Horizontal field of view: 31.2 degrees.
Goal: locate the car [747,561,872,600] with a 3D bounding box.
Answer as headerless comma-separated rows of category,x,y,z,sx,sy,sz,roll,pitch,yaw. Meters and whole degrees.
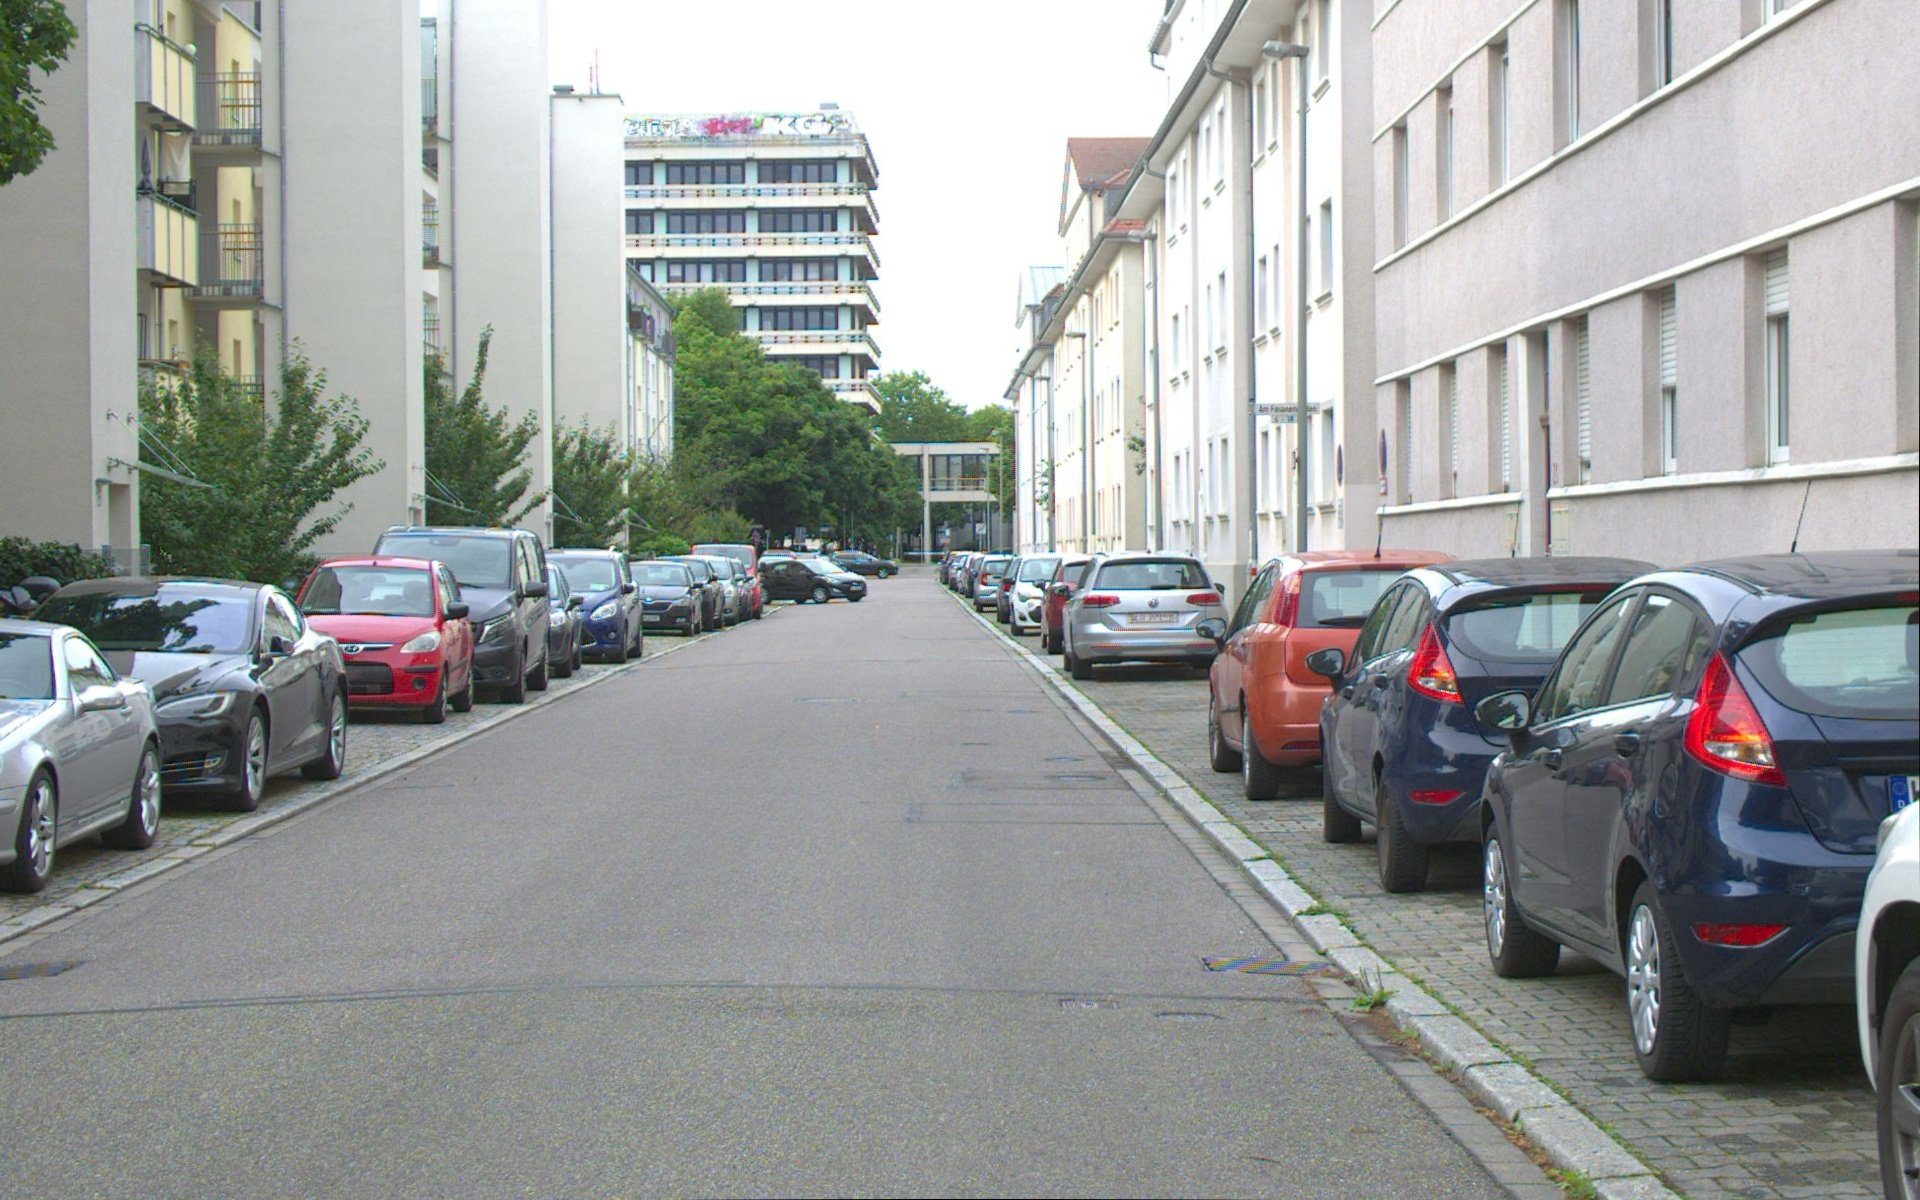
car,-4.870,-0.641,111.393,3.732,1.210,1.543,1,1,18

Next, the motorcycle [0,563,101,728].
motorcycle,-8.158,0.376,30.160,0.677,1.351,2.229,2,1,-1

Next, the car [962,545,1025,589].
car,1.140,-1.161,118.897,1.993,1.393,4.000,2,1,-1

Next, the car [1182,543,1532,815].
car,2.406,0.424,21.647,1.696,1.520,3.826,-1,1,-1

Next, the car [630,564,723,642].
car,-5.913,0.039,72.044,1.671,1.558,3.664,1,1,-1

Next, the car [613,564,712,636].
car,-5.827,-0.022,67.662,1.671,1.347,3.817,1,1,-1

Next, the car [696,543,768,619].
car,-5.975,-0.527,90.501,1.671,1.931,3.742,1,1,-1

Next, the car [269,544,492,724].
car,-5.508,0.279,33.028,1.563,1.563,3.642,2,1,-2

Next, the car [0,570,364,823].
car,-5.269,0.555,22.787,1.841,1.416,4.630,2,1,-1

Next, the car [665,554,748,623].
car,-5.898,-0.287,80.245,1.671,1.520,4.253,1,1,-1

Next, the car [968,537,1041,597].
car,1.171,-0.898,91.845,1.819,1.571,3.884,1,1,-1

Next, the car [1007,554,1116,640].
car,1.825,-0.078,63.067,1.819,1.499,3.753,1,1,-1

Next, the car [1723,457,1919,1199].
car,2.703,0.570,5.439,1.842,1.668,4.290,-1,1,-2

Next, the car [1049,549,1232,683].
car,2.072,0.145,40.682,1.755,1.462,4.601,1,1,-2

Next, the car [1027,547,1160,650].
car,1.957,-0.049,51.384,1.670,1.415,4.000,-2,1,-2

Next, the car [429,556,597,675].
car,-5.856,0.167,45.471,1.830,1.454,4.260,1,1,-2

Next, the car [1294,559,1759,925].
car,2.549,0.571,16.234,1.567,1.468,3.696,2,1,0

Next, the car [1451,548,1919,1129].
car,2.592,0.585,10.766,1.567,1.473,3.871,-1,1,0

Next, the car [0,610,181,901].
car,-5.338,0.725,17.812,1.696,1.254,4.015,2,1,-1

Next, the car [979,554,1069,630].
car,1.375,-0.189,74.823,1.819,1.571,3.753,1,1,-1

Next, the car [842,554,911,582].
car,-4.945,-1.874,203.961,3.987,1.481,2.000,2,1,0

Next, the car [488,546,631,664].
car,-5.857,0.031,50.665,1.769,1.637,4.355,1,1,-2

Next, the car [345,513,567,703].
car,-5.509,0.036,38.155,1.879,1.897,5.031,2,1,-3
